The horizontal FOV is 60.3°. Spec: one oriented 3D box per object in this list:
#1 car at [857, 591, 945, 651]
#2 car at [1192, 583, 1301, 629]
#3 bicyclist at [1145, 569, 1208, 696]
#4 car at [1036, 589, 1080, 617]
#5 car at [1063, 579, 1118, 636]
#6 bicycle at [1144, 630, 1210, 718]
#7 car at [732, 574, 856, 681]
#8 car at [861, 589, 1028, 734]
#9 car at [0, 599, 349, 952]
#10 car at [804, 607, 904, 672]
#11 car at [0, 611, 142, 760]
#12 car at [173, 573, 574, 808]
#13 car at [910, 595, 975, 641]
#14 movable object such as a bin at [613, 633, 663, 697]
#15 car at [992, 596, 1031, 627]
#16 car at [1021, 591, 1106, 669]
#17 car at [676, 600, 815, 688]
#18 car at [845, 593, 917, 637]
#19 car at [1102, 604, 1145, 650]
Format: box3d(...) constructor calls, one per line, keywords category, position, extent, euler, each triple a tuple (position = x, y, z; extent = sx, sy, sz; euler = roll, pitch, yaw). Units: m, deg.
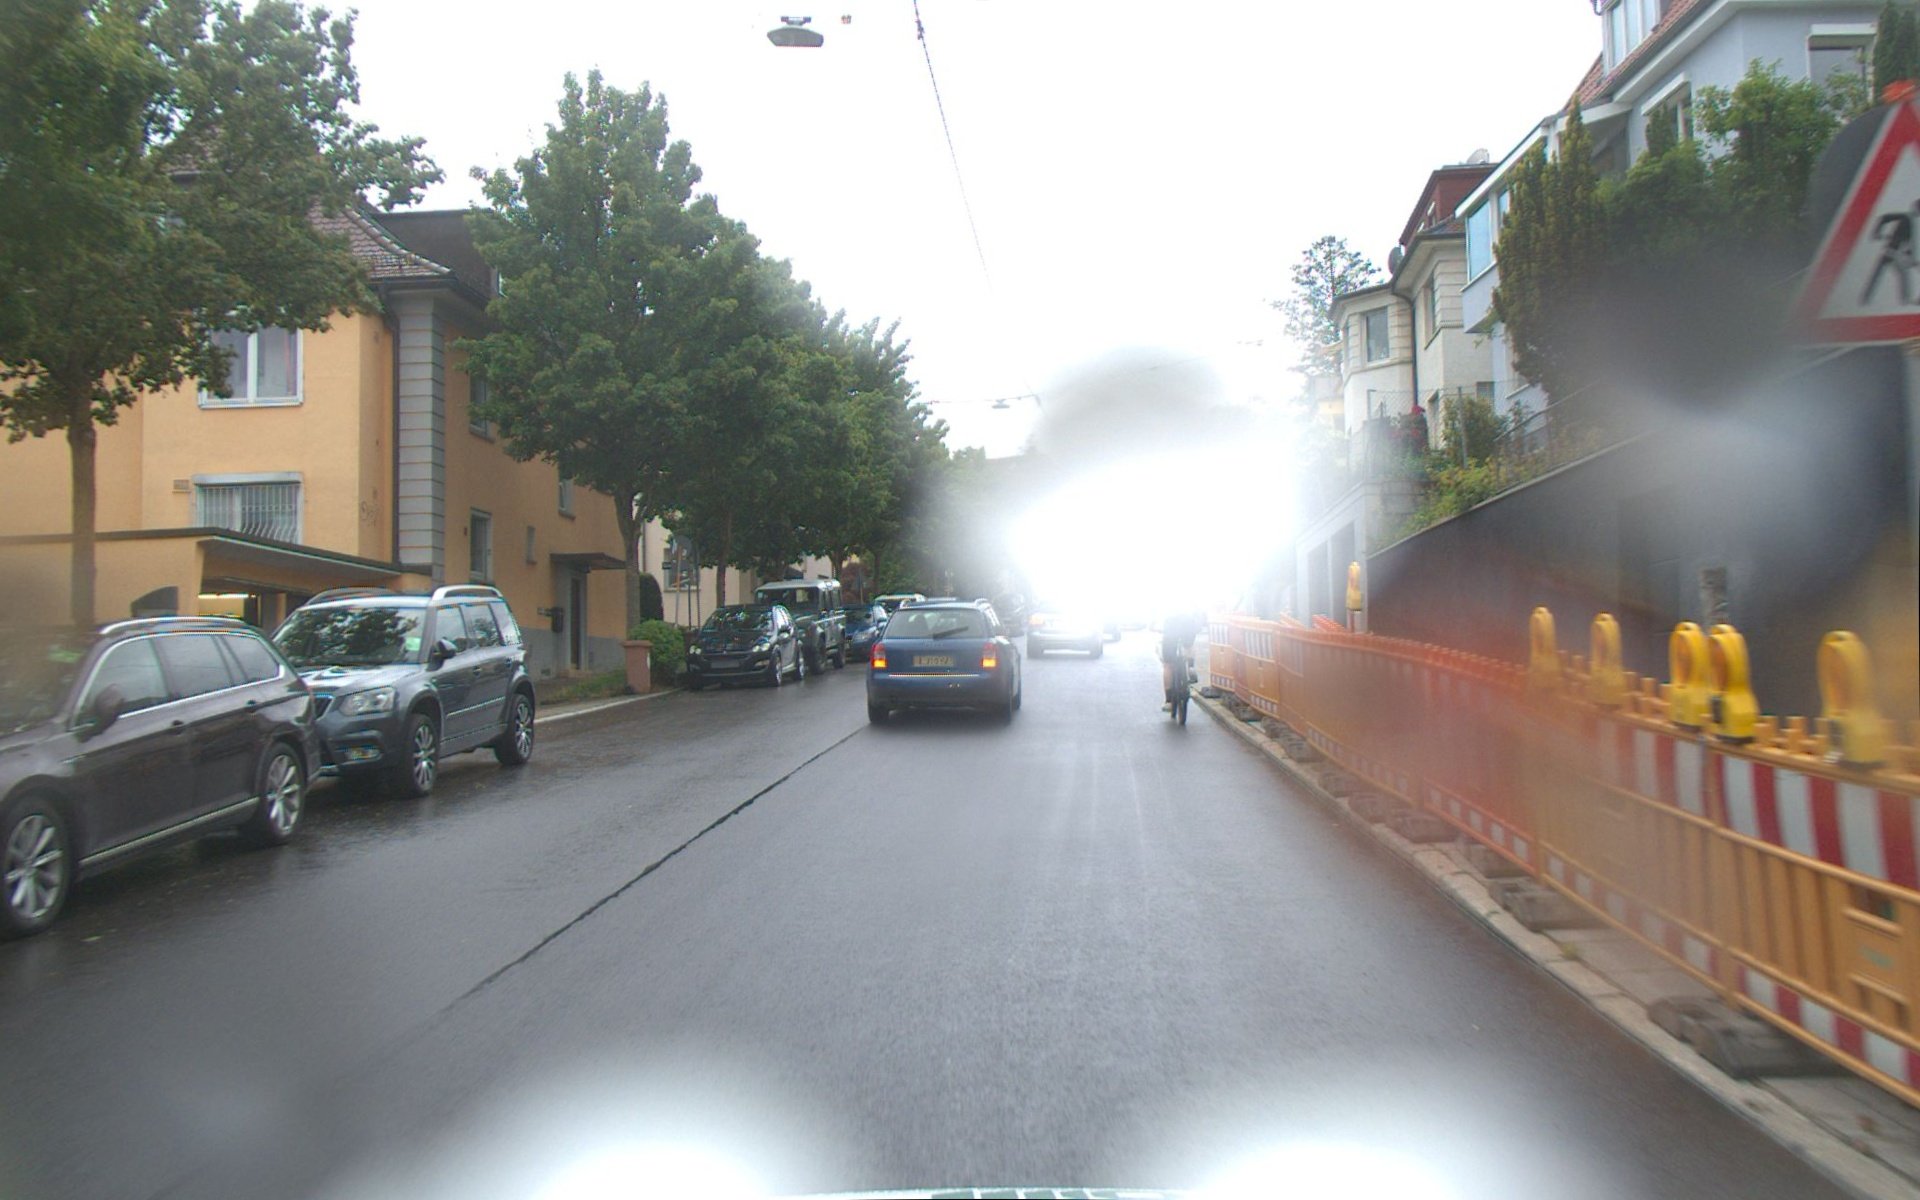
box3d(category="car", position=(-1.723, 0.616, 49.615), extent=(1.730, 1.655, 4.694), euler=(-2, -1, 9))
box3d(category="car", position=(10.678, 0.224, 61.554), extent=(3.902, 1.492, 1.741), euler=(-2, 1, 12))
box3d(category="bicyclist", position=(2.610, 0.386, 20.014), extent=(0.710, 1.498, 0.887), euler=(0, 0, 5))
box3d(category="car", position=(5.842, 0.153, 98.494), extent=(1.697, 1.492, 4.003), euler=(2, 2, 17))
box3d(category="car", position=(4.595, 0.234, 57.712), extent=(1.697, 1.799, 4.239), euler=(2, 2, 7))
box3d(category="bicycle", position=(2.610, 0.879, 20.037), extent=(0.714, 0.981, 1.671), euler=(0, 0, 5))
box3d(category="car", position=(-3.576, 0.536, 36.488), extent=(1.754, 2.085, 4.785), euler=(-4, 0, 5))
box3d(category="car", position=(-0.101, 0.676, 20.633), extent=(1.697, 1.492, 4.003), euler=(2, 2, 4))
box3d(category="car", position=(-5.137, 0.819, 9.073), extent=(1.732, 1.562, 4.606), euler=(-2, 0, 1))
box3d(category="car", position=(-2.715, 0.992, 43.324), extent=(1.730, 1.411, 4.638), euler=(-2, 1, 7))
box3d(category="car", position=(-12.185, 0.992, 19.695), extent=(3.968, 1.675, 1.864), euler=(-1, -1, 4))
box3d(category="car", position=(-4.941, 0.677, 14.615), extent=(1.731, 1.662, 4.112), euler=(-4, 0, 4))
box3d(category="car", position=(-0.593, 0.663, 60.180), extent=(1.730, 1.566, 4.011), euler=(-2, -1, 8))
box3d(category="movable object such as a bin", position=(-5.619, 1.125, 28.881), extent=(0.669, 1.028, 0.708), euler=(-5, 0, -1))
box3d(category="car", position=(2.491, 0.538, 79.462), extent=(1.443, 1.318, 3.224), euler=(2, 2, 10))
box3d(category="car", position=(2.561, 0.691, 40.544), extent=(1.934, 1.663, 4.238), euler=(2, 2, 4))
box3d(category="car", position=(-3.945, 0.774, 31.129), extent=(1.731, 1.461, 4.349), euler=(-2, 0, 4))
box3d(category="car", position=(-3.907, 0.740, 81.690), extent=(3.143, 1.770, 1.481), euler=(-7, 0, 9))
box3d(category="car", position=(7.159, 1.140, 72.199), extent=(1.696, 1.799, 4.239), euler=(2, 2, 8))
